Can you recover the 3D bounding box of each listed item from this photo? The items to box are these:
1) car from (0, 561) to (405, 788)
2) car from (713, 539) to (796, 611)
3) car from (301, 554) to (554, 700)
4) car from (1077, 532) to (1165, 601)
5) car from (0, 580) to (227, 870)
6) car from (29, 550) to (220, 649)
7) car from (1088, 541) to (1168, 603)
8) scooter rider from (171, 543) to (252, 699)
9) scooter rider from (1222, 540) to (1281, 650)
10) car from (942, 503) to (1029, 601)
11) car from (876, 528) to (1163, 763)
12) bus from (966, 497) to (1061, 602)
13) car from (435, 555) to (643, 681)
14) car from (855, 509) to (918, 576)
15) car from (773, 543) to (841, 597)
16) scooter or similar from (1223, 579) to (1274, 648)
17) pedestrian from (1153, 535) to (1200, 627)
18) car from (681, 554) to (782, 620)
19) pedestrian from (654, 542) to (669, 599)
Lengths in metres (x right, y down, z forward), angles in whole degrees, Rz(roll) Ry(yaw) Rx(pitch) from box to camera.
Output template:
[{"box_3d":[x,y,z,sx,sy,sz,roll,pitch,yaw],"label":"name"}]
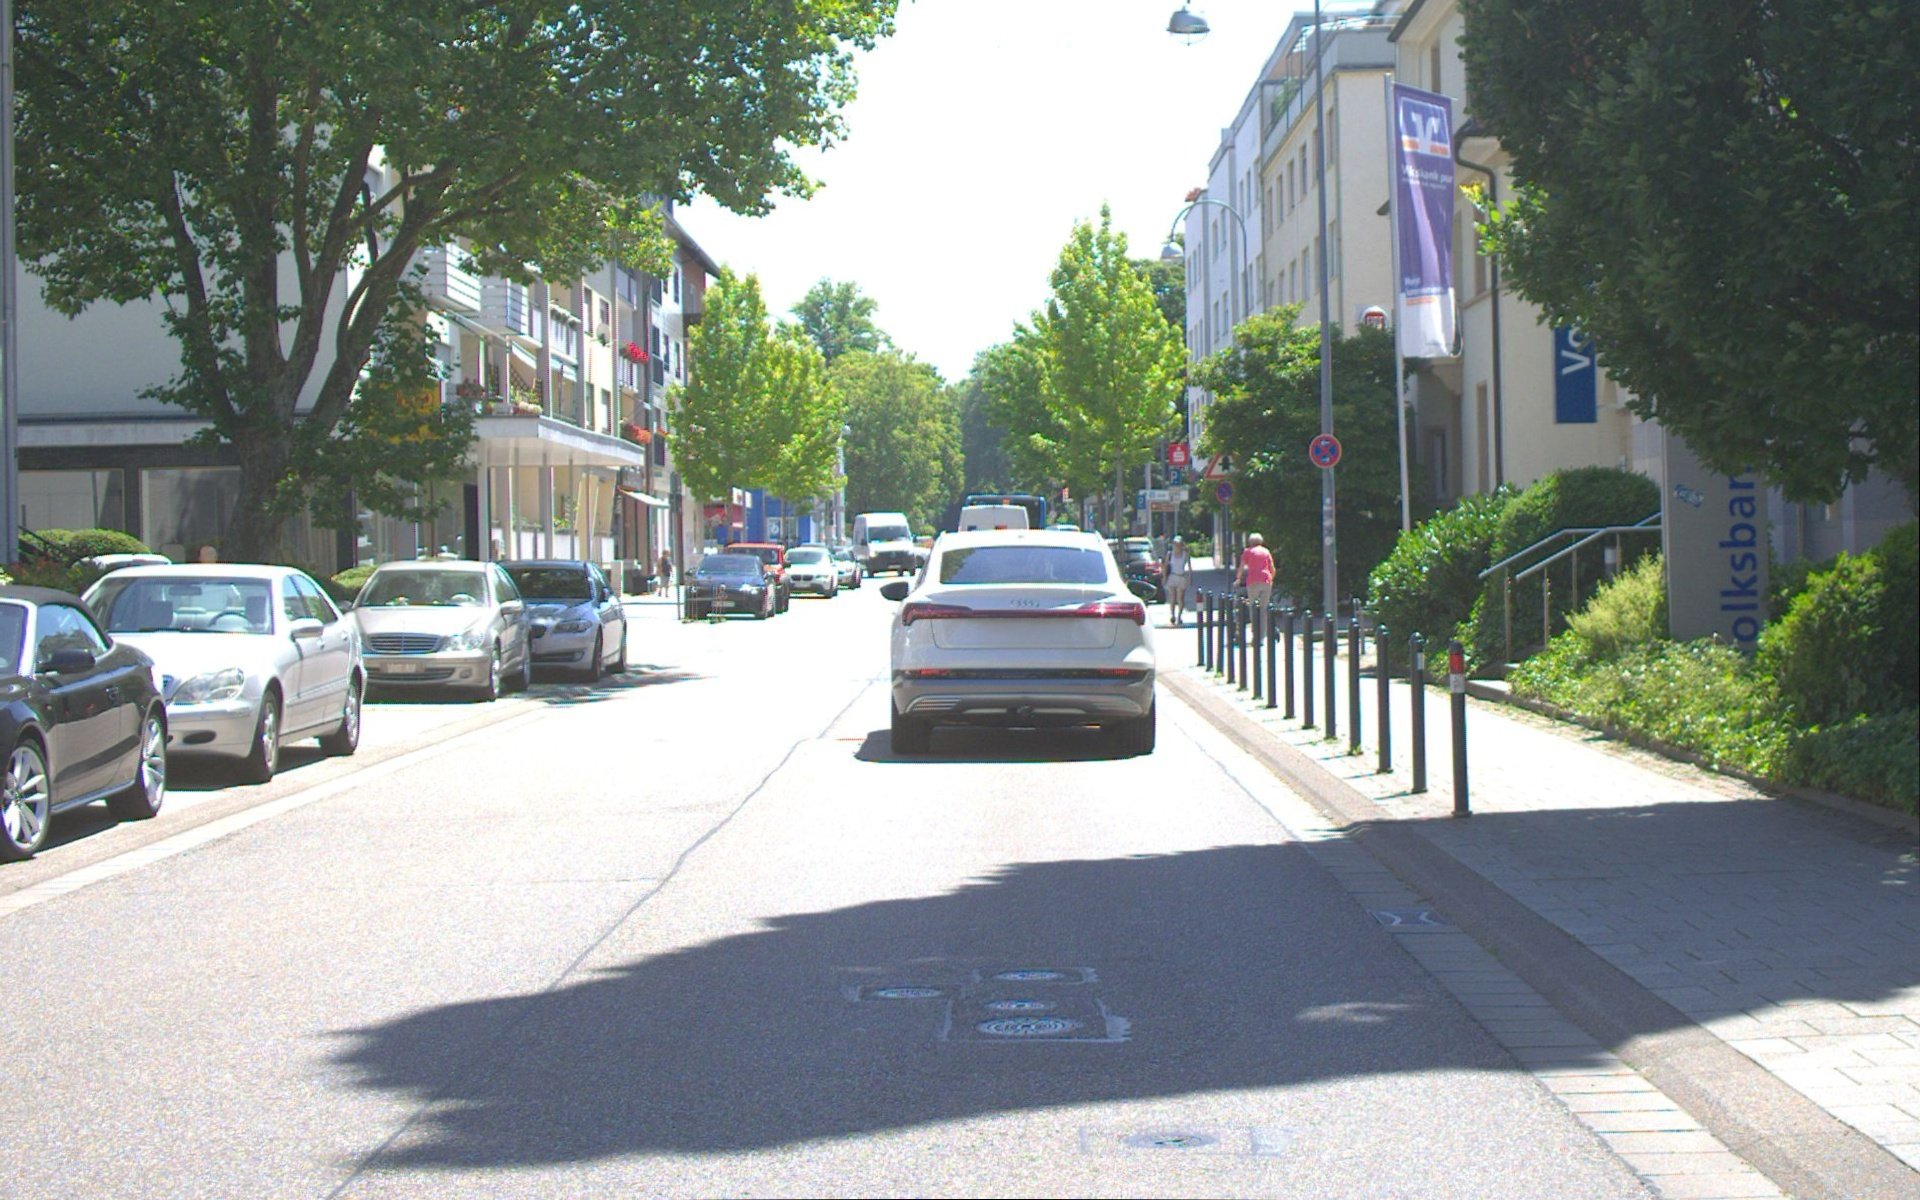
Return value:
[{"box_3d":[-5.530,0.456,25.100,1.981,1.447,5.357,0,1,1],"label":"car"},{"box_3d":[-5.020,-0.639,84.262,1.752,1.696,4.101,1,1,0],"label":"car"},{"box_3d":[-5.616,0.238,36.826,1.981,1.447,4.868,0,1,0],"label":"car"},{"box_3d":[4.231,-0.901,90.930,1.896,1.669,4.691,-3,1,-2],"label":"car"},{"box_3d":[-5.631,0.609,19.033,1.942,1.369,5.098,-1,1,1],"label":"car"},{"box_3d":[-13.288,-0.020,54.522,1.891,1.481,3.996,-2,1,-30],"label":"car"},{"box_3d":[4.118,-0.712,84.791,1.896,1.433,4.544,-1,1,2],"label":"car"},{"box_3d":[-7.694,0.205,35.358,0.588,1.570,0.877,1,1,2],"label":"scooter rider"},{"box_3d":[4.161,-0.076,49.143,0.716,1.543,0.770,-2,1,-1],"label":"scooter rider"},{"box_3d":[0.689,-1.237,88.778,2.156,2.433,5.283,1,1,1],"label":"car"},{"box_3d":[0.399,0.283,25.980,1.993,1.627,4.000,0,1,0],"label":"car"},{"box_3d":[1.757,-1.589,109.353,2.661,3.210,7.300,1,1,3],"label":"bus"},{"box_3d":[-5.156,0.176,42.714,1.981,1.447,5.151,0,1,0],"label":"car"},{"box_3d":[-3.081,-2.380,142.801,2.036,2.621,7.109,-3,1,-5],"label":"car"},{"box_3d":[-4.765,-0.955,107.423,1.752,1.612,4.400,1,1,2],"label":"car"},{"box_3d":[4.167,0.196,49.740,0.663,0.960,0.754,-2,1,1],"label":"scooter or similar"},{"box_3d":[3.978,-0.352,63.223,0.700,1.621,0.784,-4,0,0],"label":"pedestrian"},{"box_3d":[-5.132,-0.315,77.792,1.896,1.412,5.048,1,1,0],"label":"car"},{"box_3d":[-9.075,-0.906,104.486,0.394,1.729,0.446,-2,1,-10],"label":"pedestrian"}]
